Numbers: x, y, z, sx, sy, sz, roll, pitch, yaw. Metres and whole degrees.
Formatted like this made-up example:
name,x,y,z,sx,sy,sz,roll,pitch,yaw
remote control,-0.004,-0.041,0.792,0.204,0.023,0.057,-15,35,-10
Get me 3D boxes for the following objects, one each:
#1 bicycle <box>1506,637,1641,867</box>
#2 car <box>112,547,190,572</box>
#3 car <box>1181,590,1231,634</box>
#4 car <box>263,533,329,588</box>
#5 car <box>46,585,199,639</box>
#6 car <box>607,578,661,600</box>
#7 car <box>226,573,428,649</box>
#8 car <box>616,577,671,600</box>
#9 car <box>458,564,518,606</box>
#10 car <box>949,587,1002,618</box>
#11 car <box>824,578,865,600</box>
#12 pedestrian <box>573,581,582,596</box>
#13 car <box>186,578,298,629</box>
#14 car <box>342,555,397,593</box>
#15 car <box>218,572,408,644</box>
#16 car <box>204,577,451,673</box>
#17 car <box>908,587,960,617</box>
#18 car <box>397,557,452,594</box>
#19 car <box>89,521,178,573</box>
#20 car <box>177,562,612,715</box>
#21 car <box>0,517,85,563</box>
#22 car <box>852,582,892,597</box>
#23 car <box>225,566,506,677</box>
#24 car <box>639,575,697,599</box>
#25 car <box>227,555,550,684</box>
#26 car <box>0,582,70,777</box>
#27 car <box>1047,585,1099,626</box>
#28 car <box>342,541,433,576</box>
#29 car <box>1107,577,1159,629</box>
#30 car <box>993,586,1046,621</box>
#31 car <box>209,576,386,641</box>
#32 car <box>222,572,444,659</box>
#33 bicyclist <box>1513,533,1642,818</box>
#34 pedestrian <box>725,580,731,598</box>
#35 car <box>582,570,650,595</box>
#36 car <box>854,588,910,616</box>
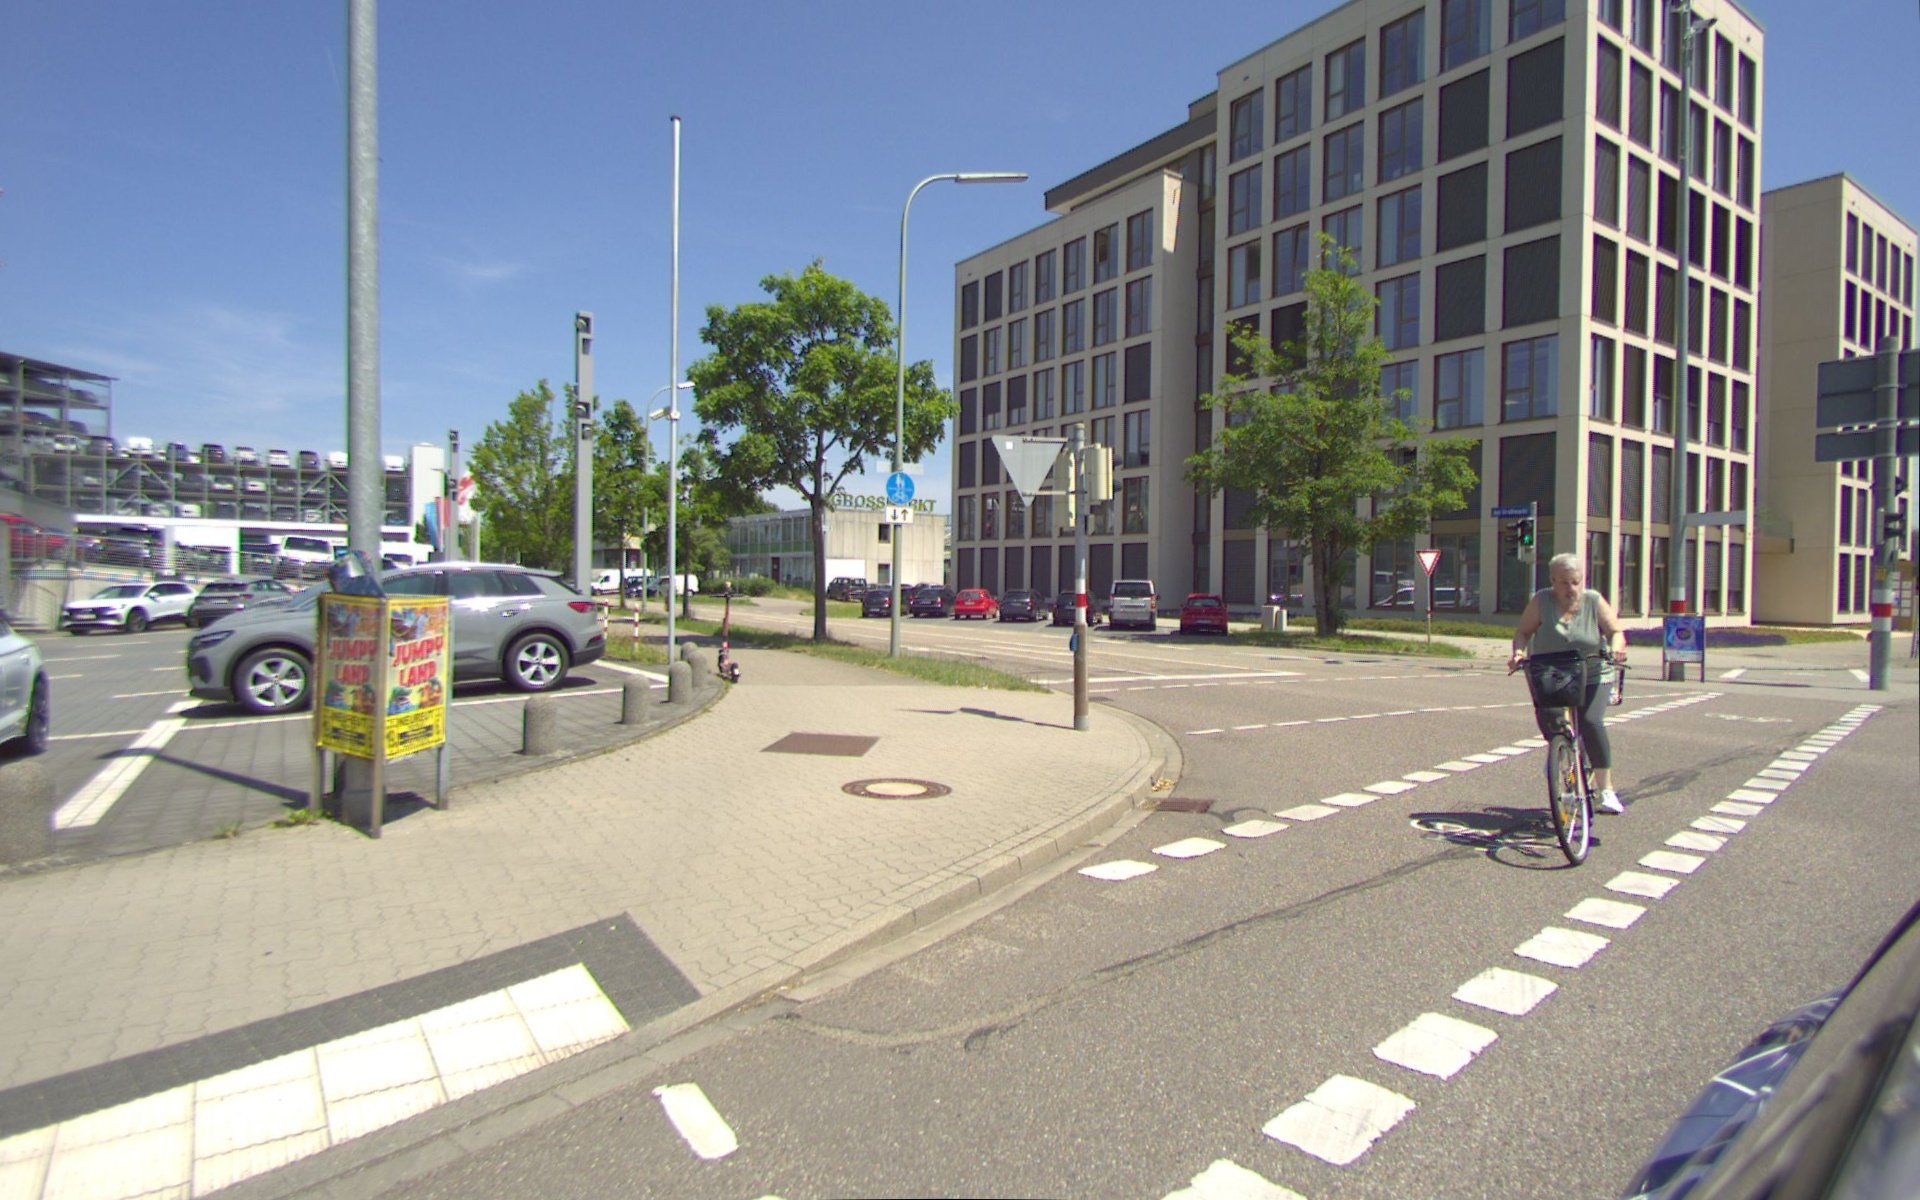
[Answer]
name,x,y,z,sx,sy,sz,roll,pitch,yaw
bicycle,3.864,0.841,6.335,0.625,1.147,1.872,-1,0,33
car,-58.330,-2.869,73.063,4.273,1.673,1.914,0,1,-34
car,9.079,0.393,37.159,1.676,1.450,3.981,0,1,16
car,-26.177,-1.513,39.830,1.878,1.991,5.251,0,1,-37
car,-26.519,0.326,32.240,1.813,1.590,4.003,0,1,-5
car,-30.927,-1.032,96.072,4.488,2.039,2.000,0,-1,-34
car,-15.083,0.261,24.196,3.926,1.676,1.848,0,-1,-39
car,-29.364,-1.064,93.824,4.488,2.039,2.000,0,-1,-34
car,-20.437,-0.647,43.727,1.876,1.715,4.593,0,1,-31
car,0.785,0.079,48.541,1.889,1.370,3.988,1,1,11
car,-9.409,-0.868,82.114,1.761,1.750,4.002,0,-1,-32
pedestrian,-42.817,-1.286,113.360,0.856,1.698,0.758,1,0,-30
car,-23.761,0.077,33.648,1.653,1.523,3.810,-2,2,-12
car,-29.359,-1.236,50.307,1.963,1.728,3.998,0,-1,-36
car,-16.469,0.205,25.828,3.926,1.676,1.848,0,-1,-39
car,-11.813,0.461,19.006,3.749,1.637,1.640,2,-1,-39
car,-1.257,0.075,50.898,1.845,1.392,3.988,1,1,11
car,-27.515,-1.232,51.957,1.963,1.728,3.998,0,-1,-36
car,-30.097,-1.887,37.004,1.876,1.729,4.593,0,1,-31
car,-6.824,0.331,12.568,4.417,1.577,1.875,-2,3,-34
car,-38.105,-2.432,40.920,4.079,1.743,1.910,0,1,-42
car,-7.281,-0.873,83.817,1.662,1.171,4.001,0,-1,-32
car,-10.085,0.344,17.291,3.926,1.676,1.848,0,-1,-39
car,-25.579,-1.138,88.648,4.488,2.039,2.000,0,-1,-34
car,-8.276,0.262,14.898,3.920,1.676,1.851,0,-1,-32
car,-7.707,0.579,6.829,1.832,1.408,4.609,0,-1,-32
car,4.810,0.185,42.759,1.889,1.609,3.988,1,1,11
car,-33.693,-2.394,59.590,4.503,1.910,1.913,0,1,-37
car,6.914,0.111,40.206,1.889,1.910,4.917,1,0,11
car,2.761,0.122,46.160,1.889,1.457,3.988,1,1,11
car,-18.204,0.233,27.861,3.926,1.676,1.848,0,-1,-39
car,-13.204,0.287,21.415,3.841,1.675,1.632,0,0,-39
bicyclist,3.841,0.433,6.292,0.625,1.626,0.815,-1,-1,34
pedestrian,-20.464,-0.979,89.298,0.397,1.579,0.549,1,0,-33
car,-36.700,-1.853,108.169,6.564,2.553,2.220,0,-1,-32
car,-3.952,0.071,51.764,1.889,1.349,3.988,1,1,11
